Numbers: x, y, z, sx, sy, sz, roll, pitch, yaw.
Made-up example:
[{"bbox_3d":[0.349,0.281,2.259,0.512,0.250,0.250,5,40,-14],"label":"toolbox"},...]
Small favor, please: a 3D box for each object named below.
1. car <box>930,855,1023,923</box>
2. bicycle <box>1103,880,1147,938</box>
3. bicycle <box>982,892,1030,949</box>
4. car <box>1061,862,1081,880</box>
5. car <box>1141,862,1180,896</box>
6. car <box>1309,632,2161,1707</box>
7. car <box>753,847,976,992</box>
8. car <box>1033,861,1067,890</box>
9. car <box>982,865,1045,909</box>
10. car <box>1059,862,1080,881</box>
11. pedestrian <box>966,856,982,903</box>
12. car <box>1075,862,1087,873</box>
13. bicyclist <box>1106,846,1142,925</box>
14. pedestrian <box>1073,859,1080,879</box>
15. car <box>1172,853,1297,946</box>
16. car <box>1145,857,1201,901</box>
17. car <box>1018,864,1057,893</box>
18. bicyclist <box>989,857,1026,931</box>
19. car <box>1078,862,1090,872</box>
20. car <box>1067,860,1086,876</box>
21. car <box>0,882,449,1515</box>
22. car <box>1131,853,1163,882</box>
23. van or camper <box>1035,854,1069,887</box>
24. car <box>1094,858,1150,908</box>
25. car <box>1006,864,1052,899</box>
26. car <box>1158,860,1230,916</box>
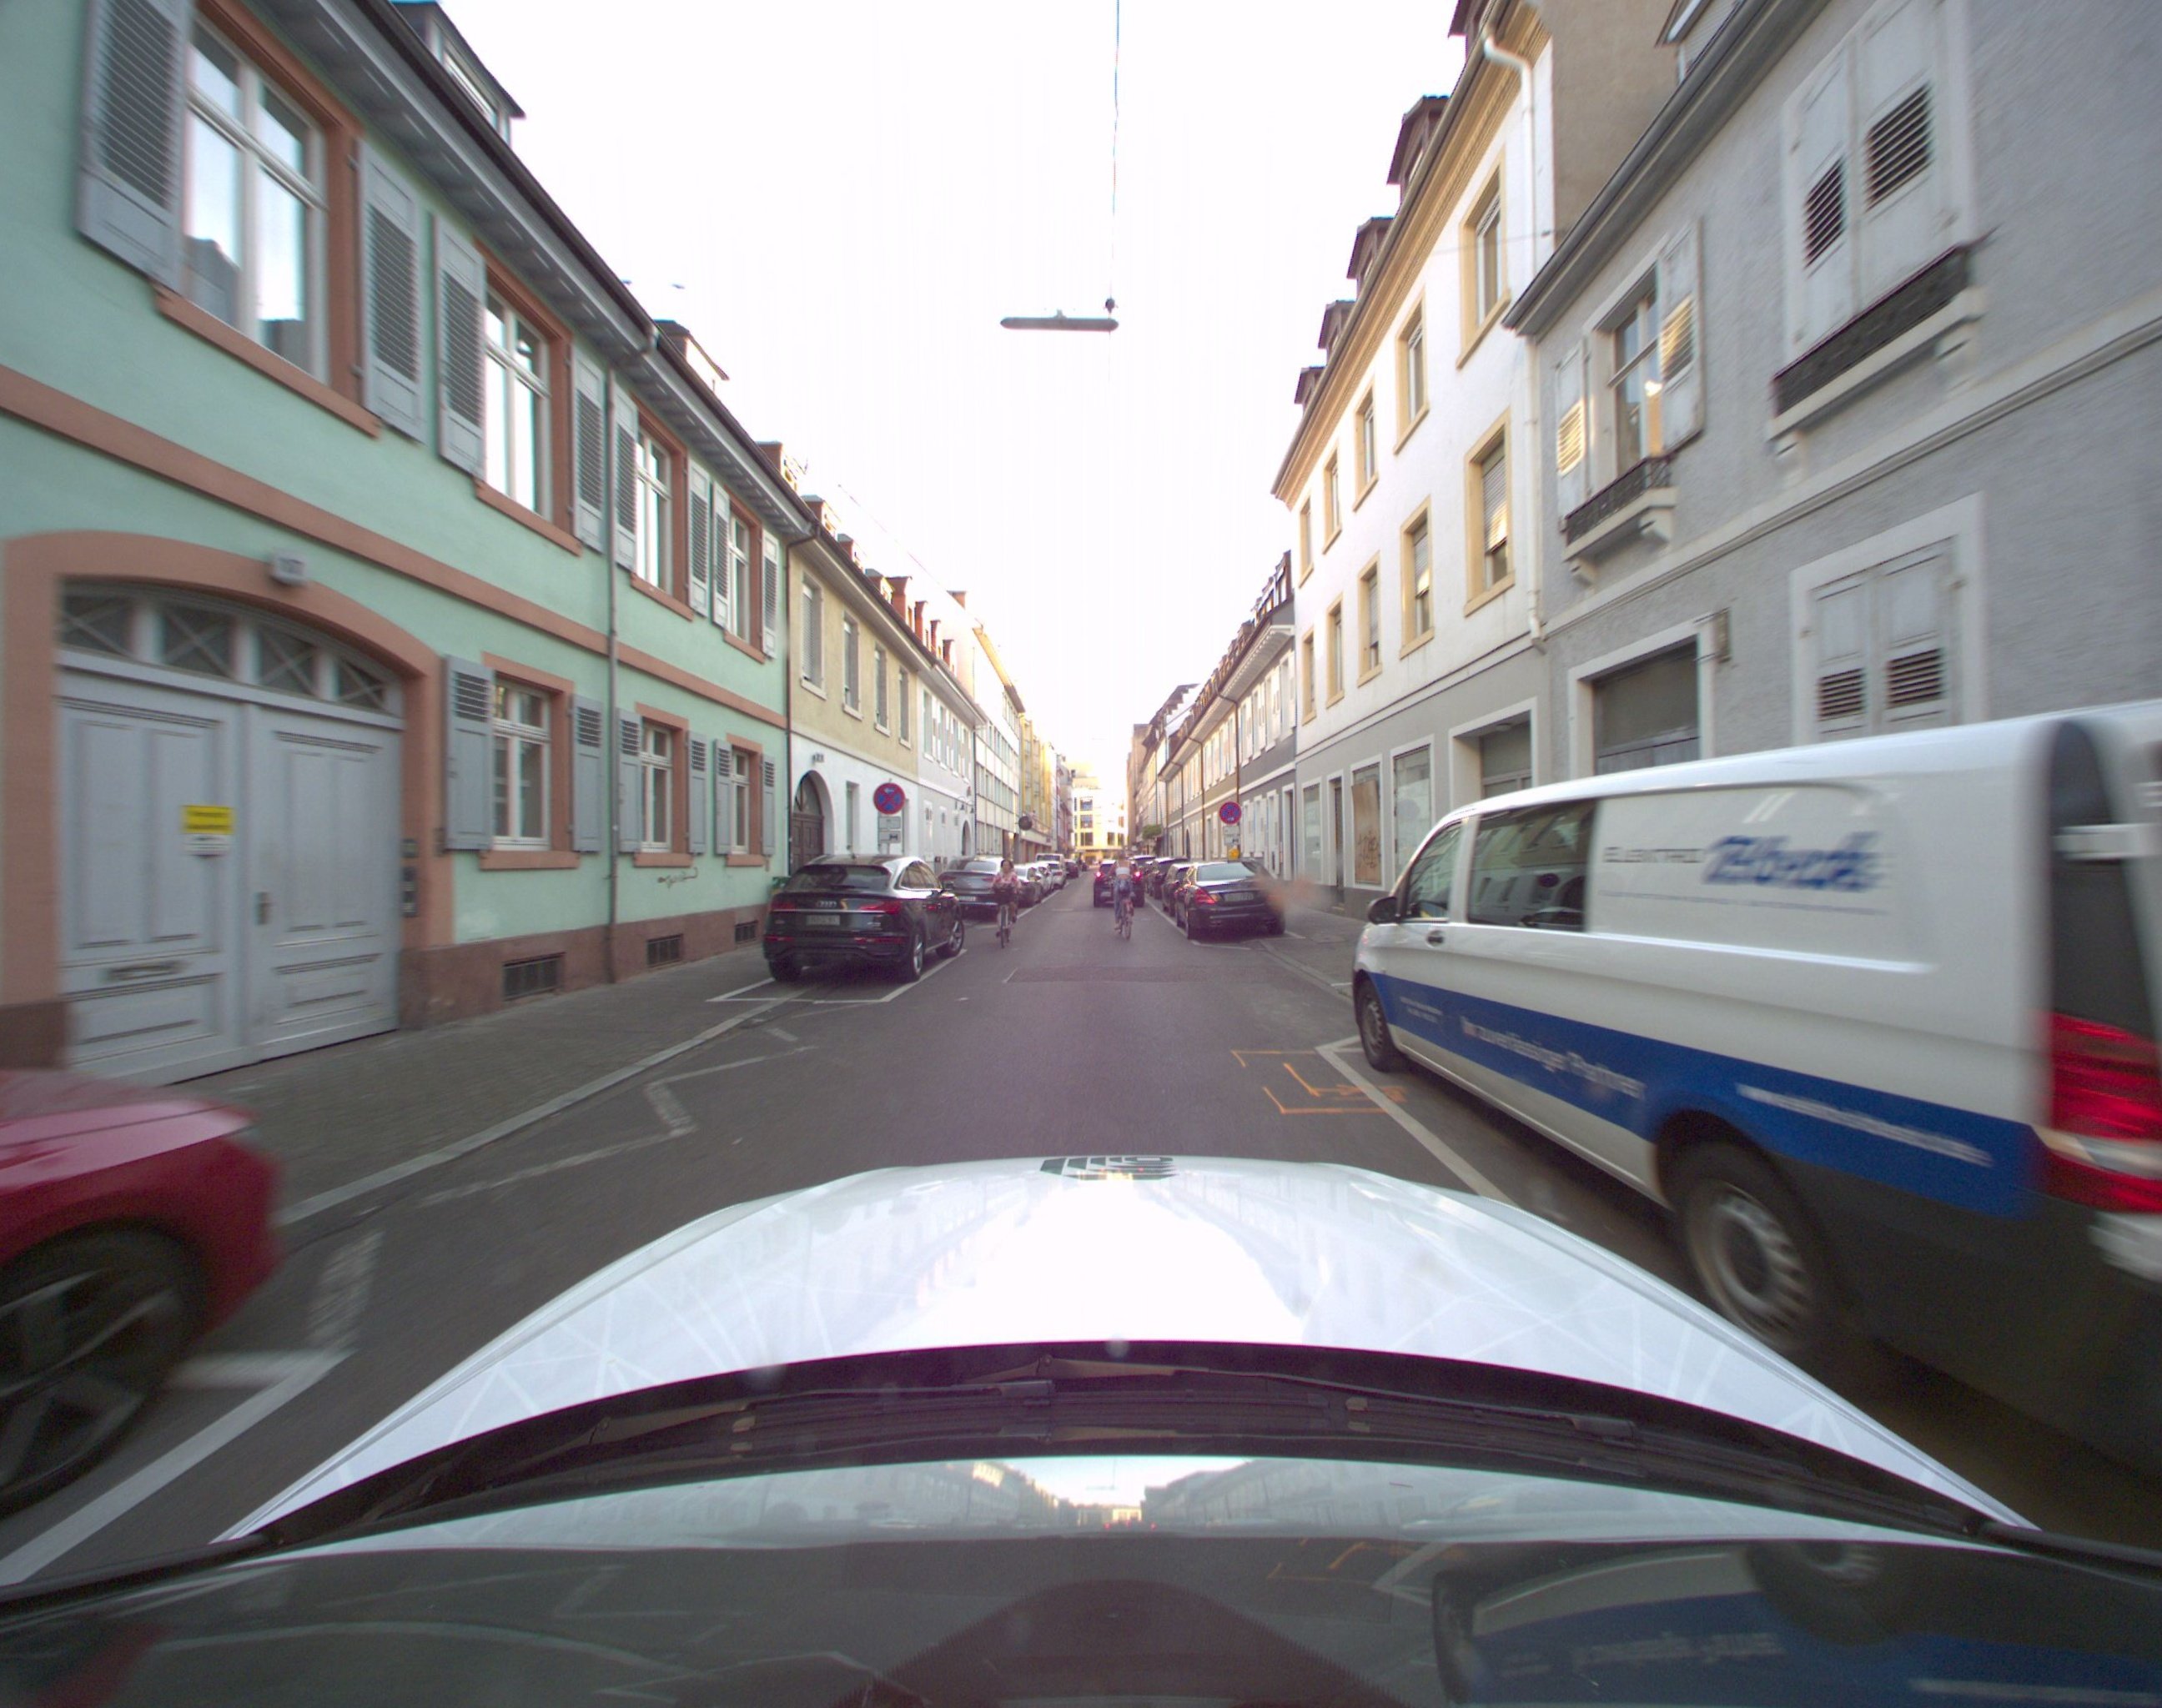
[{"bbox_3d":[-2.809,0.910,22.922,1.991,1.707,4.535,0,-1,0],"label":"car"},{"bbox_3d":[0.874,1.091,16.585,0.612,1.082,1.805,0,-1,-6],"label":"bicycle"},{"bbox_3d":[-1.382,1.223,15.299,0.611,0.932,1.888,-1,-1,3],"label":"bicycle"},{"bbox_3d":[-0.915,1.524,73.563,1.647,1.561,3.607,0,-1,2],"label":"car"},{"bbox_3d":[3.739,1.151,38.749,1.647,1.561,3.607,0,-1,2],"label":"car"},{"bbox_3d":[2.844,0.535,4.008,1.934,1.894,5.318,-4,-1,1],"label":"car"},{"bbox_3d":[-2.838,0.790,11.806,1.795,1.677,4.493,-1,-1,3],"label":"car"},{"bbox_3d":[-1.713,1.183,45.893,1.647,1.561,3.607,0,-1,2],"label":"car"},{"bbox_3d":[-2.373,1.142,29.546,1.912,1.434,4.292,0,-1,0],"label":"car"},{"bbox_3d":[-0.938,1.444,68.414,1.647,1.561,3.607,0,-1,2],"label":"car"},{"bbox_3d":[-4.645,1.115,35.380,0.608,2.014,0.450,0,-1,-2],"label":"pedestrian"},{"bbox_3d":[-0.003,1.834,113.788,1.647,1.561,3.607,0,-1,2],"label":"car"},{"bbox_3d":[0.869,0.627,16.495,0.620,1.574,0.682,0,-1,-6],"label":"bicyclist"},{"bbox_3d":[-0.415,1.293,72.349,0.552,1.752,0.568,0,-1,-2],"label":"pedestrian"},{"bbox_3d":[3.007,0.838,17.008,1.812,1.530,5.075,-4,-1,3],"label":"car"},{"bbox_3d":[3.776,0.992,33.996,1.911,1.738,4.153,0,-1,0],"label":"car"},{"bbox_3d":[-2.148,1.193,40.918,1.647,1.411,3.607,0,-1,2],"label":"car"},{"bbox_3d":[-1.386,0.745,15.420,0.603,1.370,0.622,-1,-1,4],"label":"bicyclist"},{"bbox_3d":[0.443,1.906,120.553,1.647,1.561,3.607,0,-1,2],"label":"car"},{"bbox_3d":[-0.436,1.329,79.411,1.647,1.561,3.607,0,-1,2],"label":"car"},{"bbox_3d":[-3.361,0.793,0.981,1.758,1.402,4.264,-1,-1,2],"label":"car"},{"bbox_3d":[3.691,0.767,46.230,1.647,1.561,3.607,0,-1,2],"label":"car"},{"bbox_3d":[-1.781,1.023,51.667,1.837,2.013,4.680,0,-1,2],"label":"van or camper"},{"bbox_3d":[1.383,0.976,28.672,1.813,1.618,4.001,0,-1,1],"label":"car"},{"bbox_3d":[-2.238,1.163,35.827,1.647,1.411,3.904,0,-1,2],"label":"car"},{"bbox_3d":[3.229,0.938,23.902,1.670,1.486,4.001,0,-1,2],"label":"car"}]
